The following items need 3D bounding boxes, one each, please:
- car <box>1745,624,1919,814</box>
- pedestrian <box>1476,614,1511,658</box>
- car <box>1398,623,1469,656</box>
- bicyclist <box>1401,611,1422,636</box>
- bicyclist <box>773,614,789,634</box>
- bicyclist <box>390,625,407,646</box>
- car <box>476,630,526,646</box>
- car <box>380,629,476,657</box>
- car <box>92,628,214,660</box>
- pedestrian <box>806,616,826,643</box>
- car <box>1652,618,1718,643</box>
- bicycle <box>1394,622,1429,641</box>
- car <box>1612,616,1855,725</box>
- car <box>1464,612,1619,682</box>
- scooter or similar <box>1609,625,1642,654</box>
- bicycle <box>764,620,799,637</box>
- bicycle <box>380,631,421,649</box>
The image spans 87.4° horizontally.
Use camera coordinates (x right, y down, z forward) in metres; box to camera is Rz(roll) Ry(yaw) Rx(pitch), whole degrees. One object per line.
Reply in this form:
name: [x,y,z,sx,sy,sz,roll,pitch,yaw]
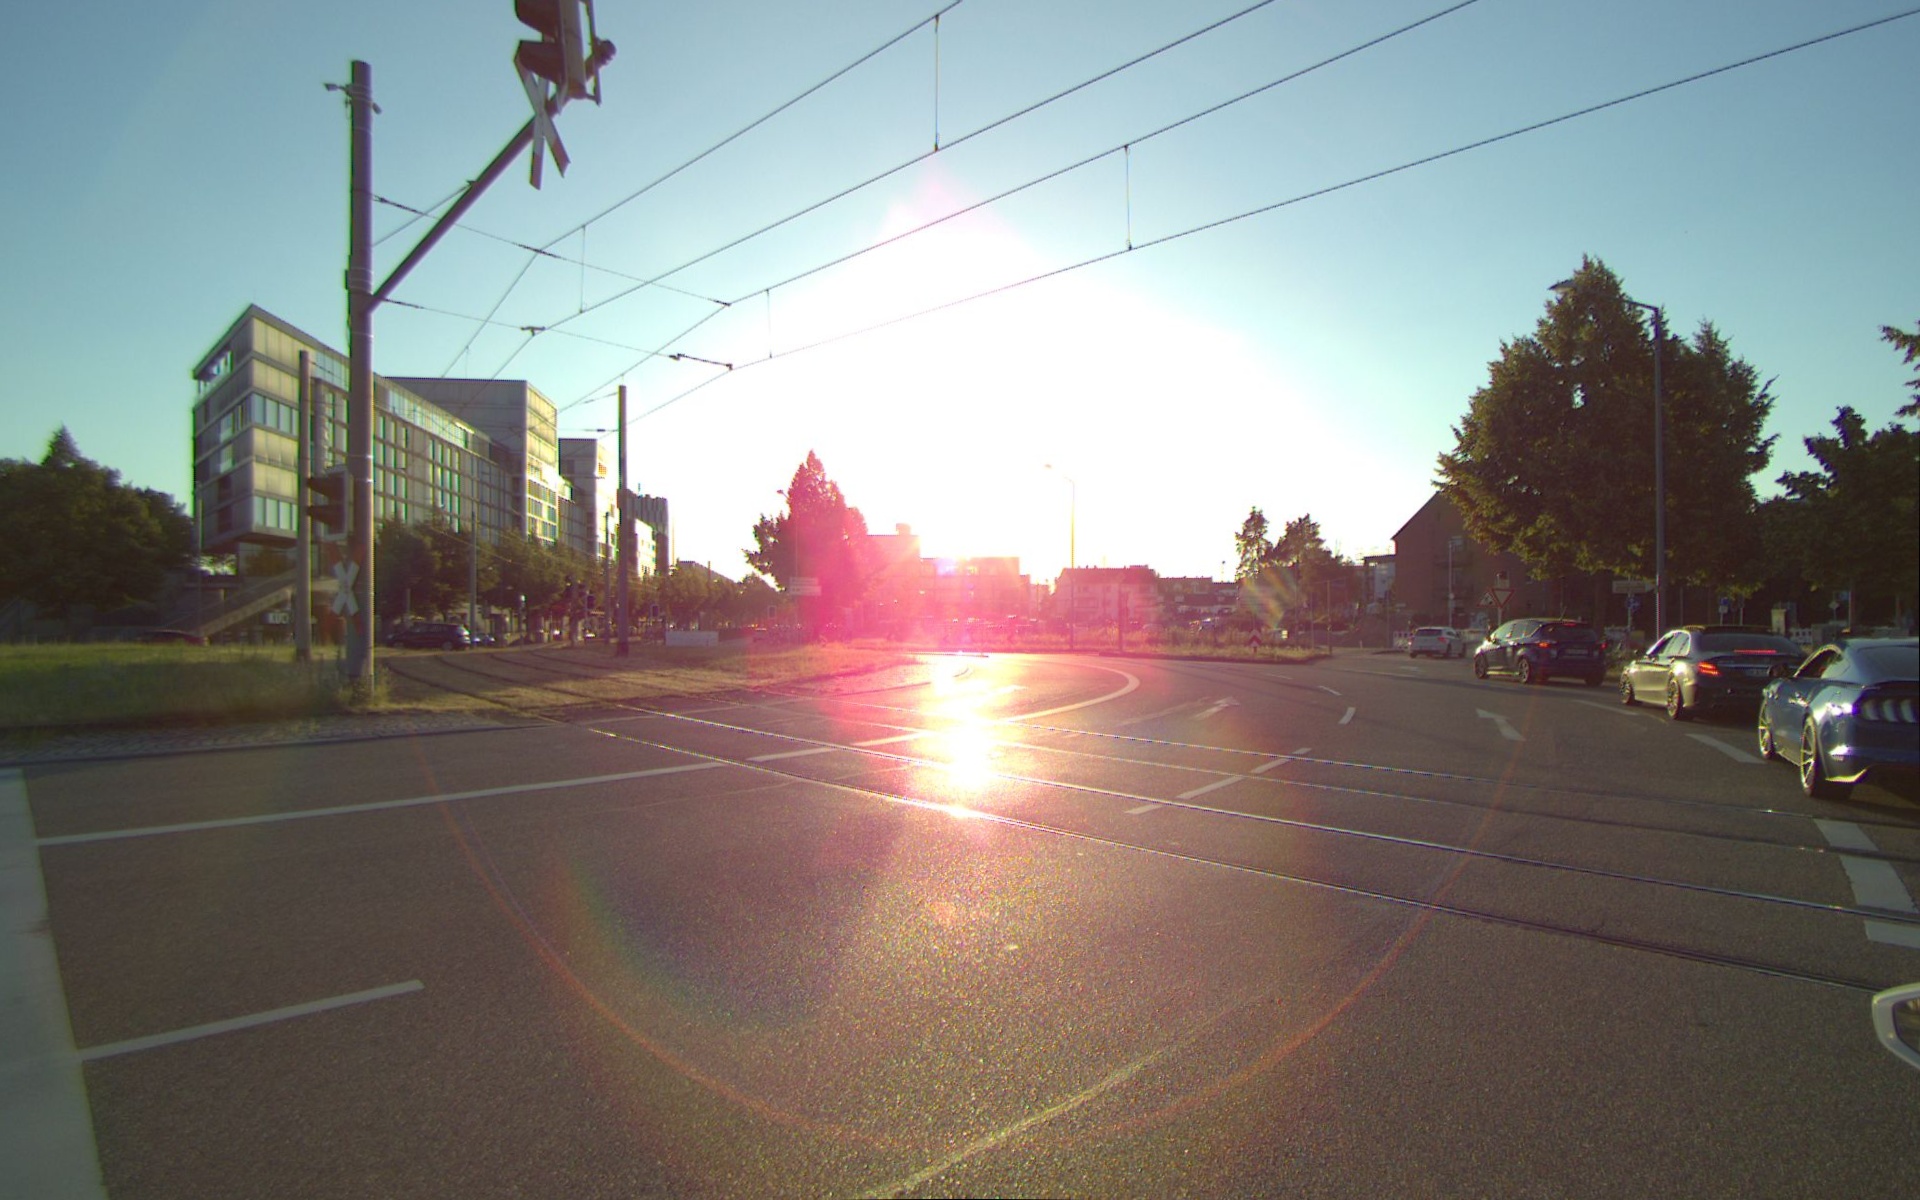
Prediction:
car: [8.626,0.924,9.129,1.924,1.360,4.658,0,-1,33]
pedestrian: [21.169,1.428,39.880,0.834,1.708,0.882,0,-1,-23]
car: [22.046,1.792,46.715,1.856,1.420,3.893,0,-1,43]
bicyclist: [29.243,1.512,65.057,0.965,1.634,0.749,0,-1,-28]
bicyclist: [-12.870,1.724,72.338,0.959,1.412,0.755,0,-1,10]
bicyclist: [-38.829,2.466,69.500,0.865,1.411,0.752,0,-1,-18]
car: [-47.651,3.906,104.337,4.253,1.594,1.943,0,-1,-5]
car: [-29.133,2.335,55.122,4.239,1.451,1.943,-1,-1,-7]
car: [-40.382,2.159,50.415,4.543,1.451,1.928,0,-1,-32]
pedestrian: [-10.281,2.112,71.921,1.138,1.851,0.980,-1,-1,14]
car: [44.299,1.858,61.348,3.870,1.420,1.867,0,-1,-31]
bicycle: [29.237,2.053,65.071,2.379,1.182,0.749,0,-1,-28]
car: [12.062,1.012,16.047,1.919,1.446,4.429,1,-1,22]
car: [14.730,1.158,25.724,1.918,1.623,4.080,0,-1,5]
scooter or similar: [28.734,1.692,43.382,1.101,1.255,0.443,0,-1,11]
bicycle: [-12.878,2.057,72.354,2.360,1.182,0.755,0,-1,10]
bicycle: [-38.698,2.756,69.519,2.371,1.182,0.752,0,-1,-18]
